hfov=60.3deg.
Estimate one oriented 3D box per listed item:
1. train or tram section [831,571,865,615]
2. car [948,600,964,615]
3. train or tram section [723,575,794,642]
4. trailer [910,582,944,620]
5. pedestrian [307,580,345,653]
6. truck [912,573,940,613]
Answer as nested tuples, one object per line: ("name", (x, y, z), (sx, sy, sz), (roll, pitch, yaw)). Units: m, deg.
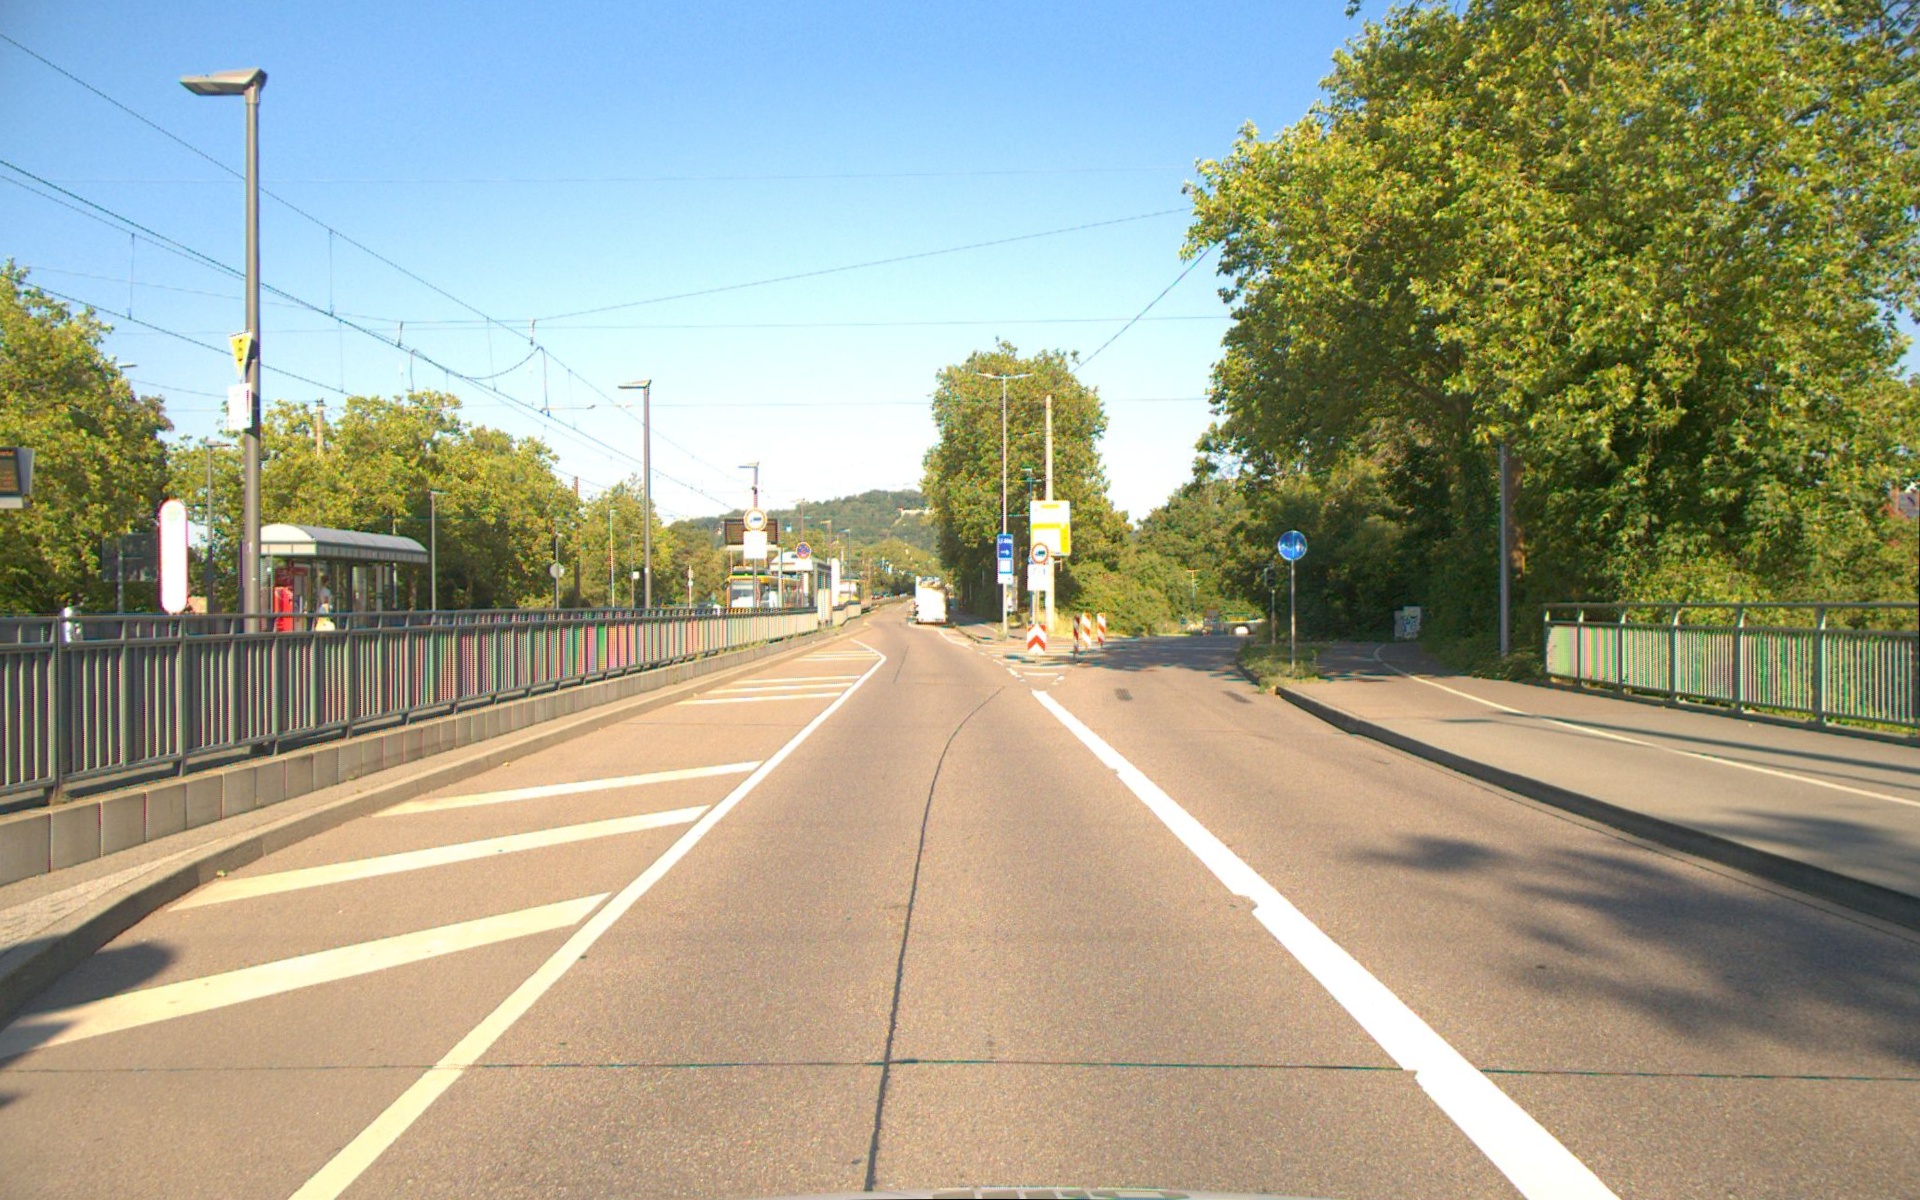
("train or tram section", (-11.319, -0.703, 168.443), (2.666, 4.162, 13.612), (-1, 0, -1))
("car", (-0.395, 0.691, 163.613), (1.619, 1.462, 3.777), (0, 0, 0))
("train or tram section", (-13.053, 0.526, 108.455), (2.770, 4.076, 15.872), (1, 0, -1))
("trailer", (-2.357, 0.063, 120.632), (2.204, 2.742, 5.948), (0, 0, 1))
("pedestrian", (-15.742, 0.405, 41.081), (0.687, 1.787, 0.586), (0, -1, 35))
("truck", (-3.541, -0.703, 168.398), (2.686, 3.849, 10.085), (1, 0, -2))
